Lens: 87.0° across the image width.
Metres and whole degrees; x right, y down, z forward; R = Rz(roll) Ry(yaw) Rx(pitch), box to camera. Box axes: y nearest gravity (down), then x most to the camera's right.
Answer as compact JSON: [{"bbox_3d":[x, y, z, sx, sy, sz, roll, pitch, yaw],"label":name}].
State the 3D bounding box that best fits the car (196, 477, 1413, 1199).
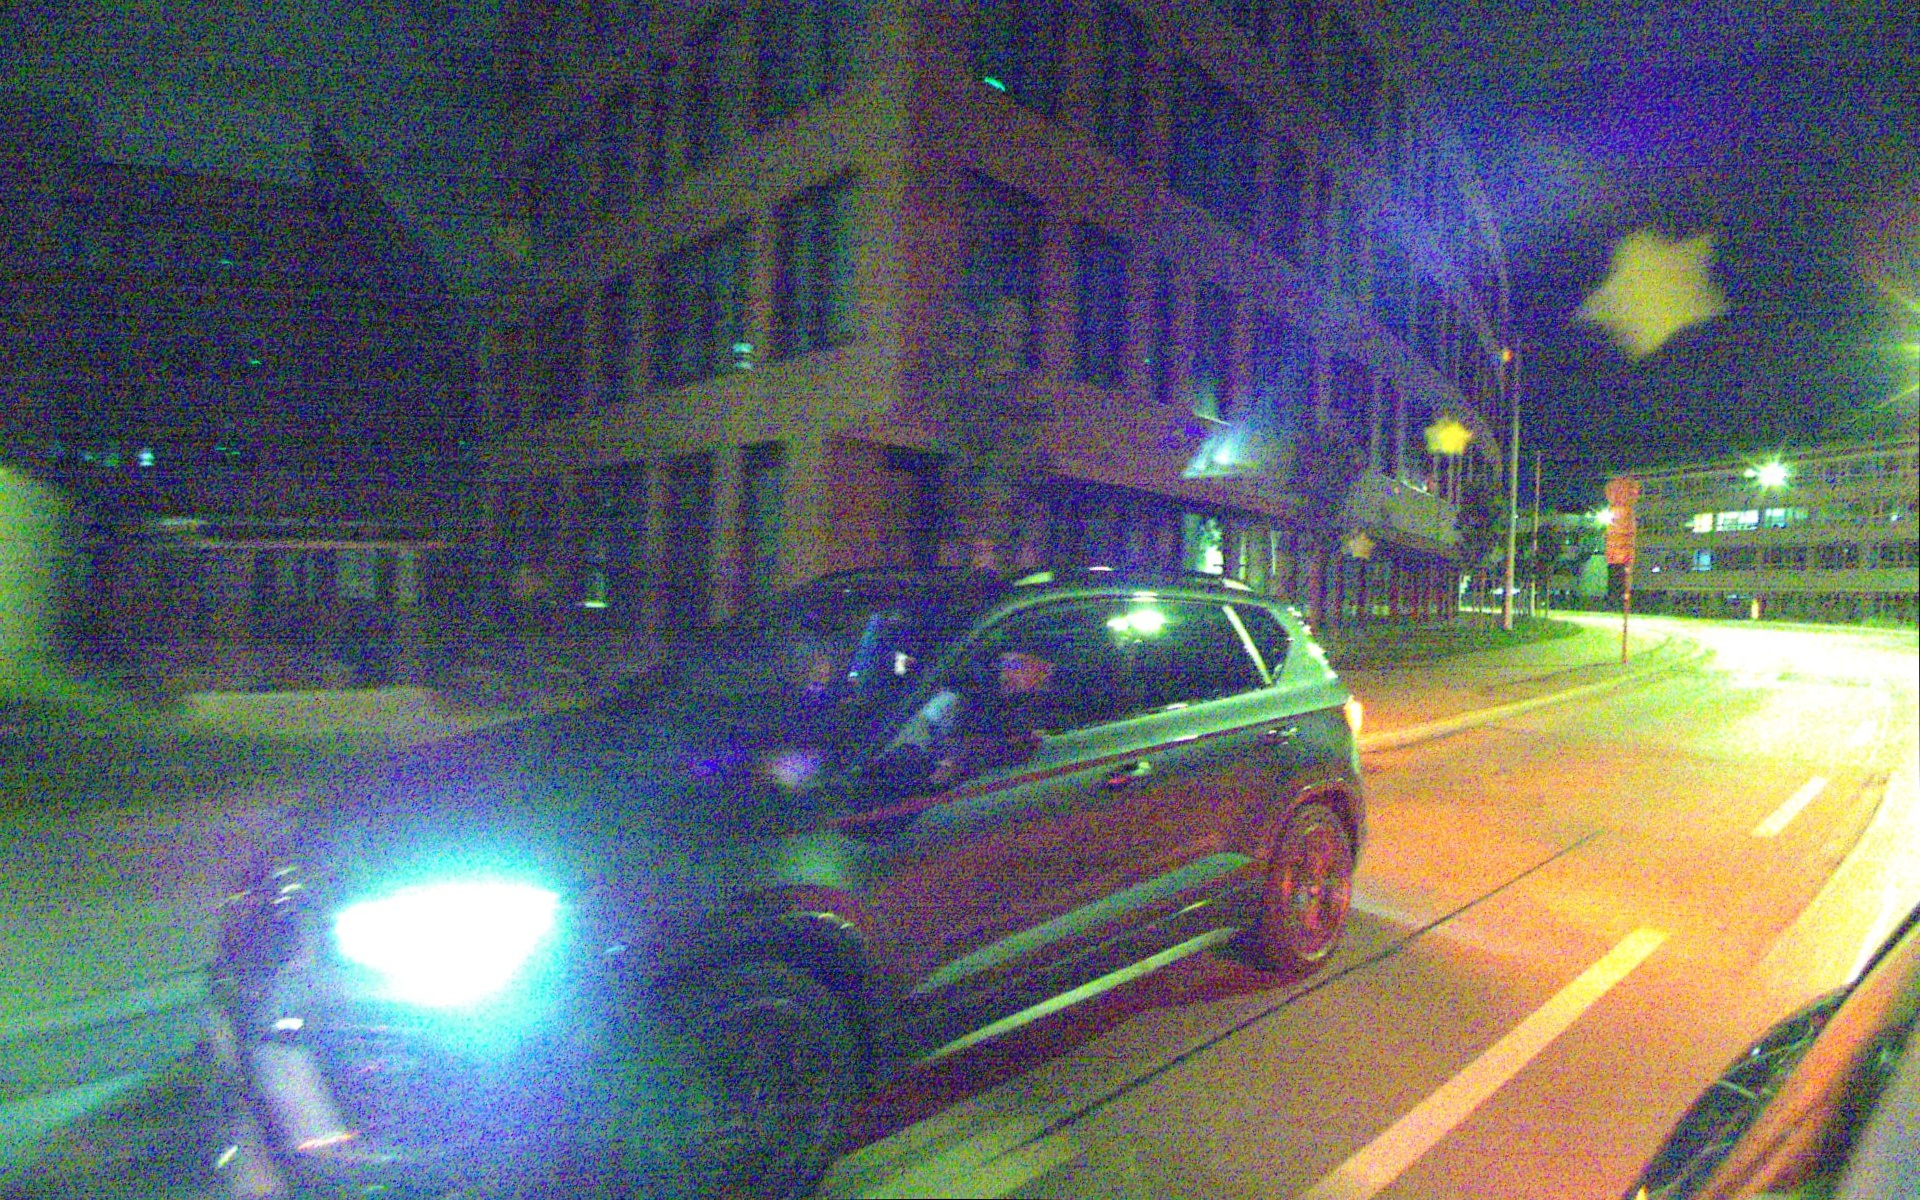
[{"bbox_3d":[-0.075,0.591,3.659,4.158,1.630,1.672,-1,1,-43],"label":"car"}]
